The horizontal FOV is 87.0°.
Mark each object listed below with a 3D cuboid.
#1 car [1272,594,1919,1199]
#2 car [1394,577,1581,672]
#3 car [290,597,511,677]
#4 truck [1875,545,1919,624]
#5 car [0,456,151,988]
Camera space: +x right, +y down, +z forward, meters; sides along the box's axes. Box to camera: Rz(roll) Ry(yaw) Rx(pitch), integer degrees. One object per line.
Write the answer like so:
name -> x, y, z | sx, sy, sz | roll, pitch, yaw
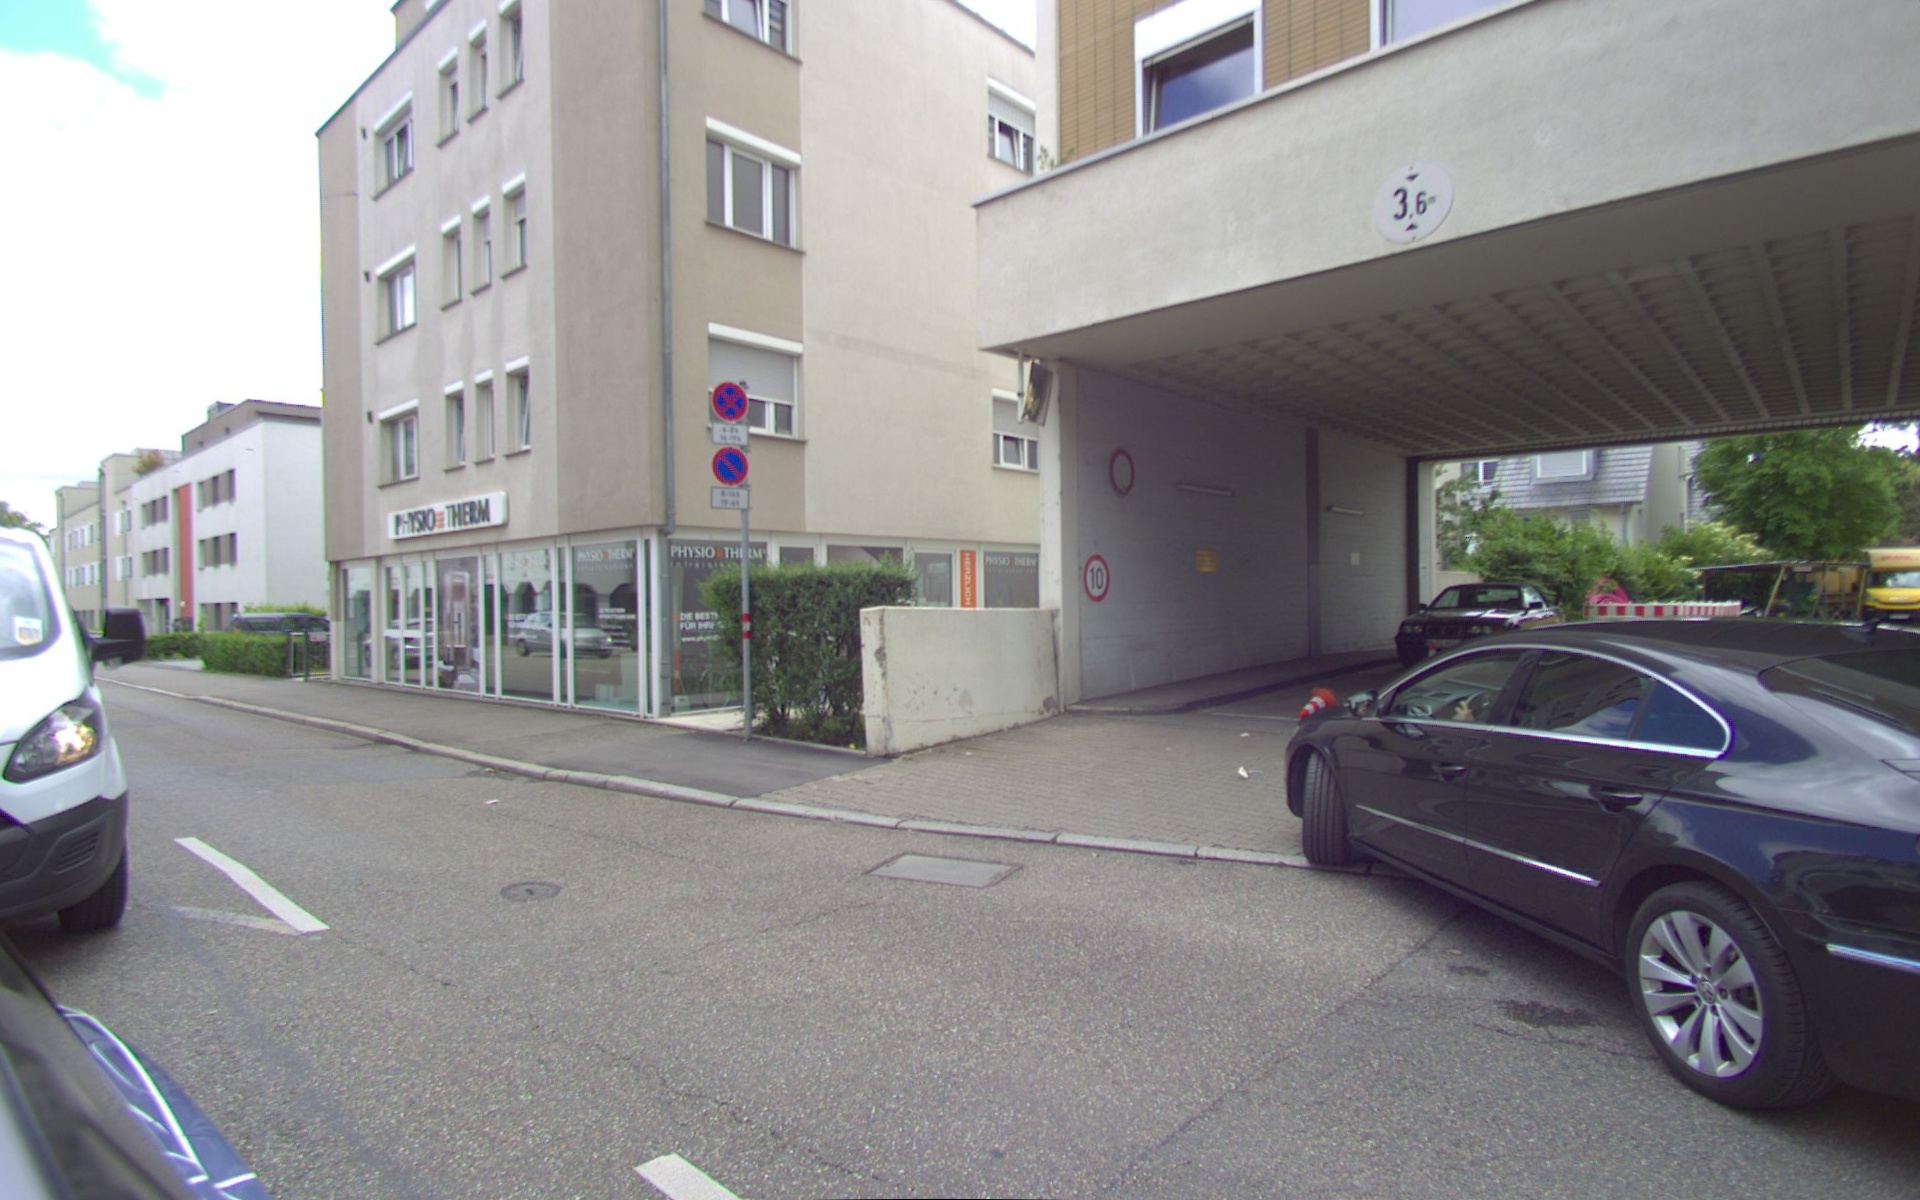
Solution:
car -> 2.921, 0.698, 4.064 | 1.632, 1.409, 4.458 | -1, 0, -4
car -> 8.669, 0.325, 16.449 | 1.624, 1.333, 4.391 | -1, 0, 42
car -> -15.417, 0.949, 28.084 | 1.967, 2.013, 5.014 | -2, -1, 44
truck -> 36.375, -0.648, 38.225 | 7.185, 2.772, 2.002 | -2, 1, -43
car -> -5.896, 0.513, 5.108 | 5.084, 2.013, 1.939 | -2, -1, 41
